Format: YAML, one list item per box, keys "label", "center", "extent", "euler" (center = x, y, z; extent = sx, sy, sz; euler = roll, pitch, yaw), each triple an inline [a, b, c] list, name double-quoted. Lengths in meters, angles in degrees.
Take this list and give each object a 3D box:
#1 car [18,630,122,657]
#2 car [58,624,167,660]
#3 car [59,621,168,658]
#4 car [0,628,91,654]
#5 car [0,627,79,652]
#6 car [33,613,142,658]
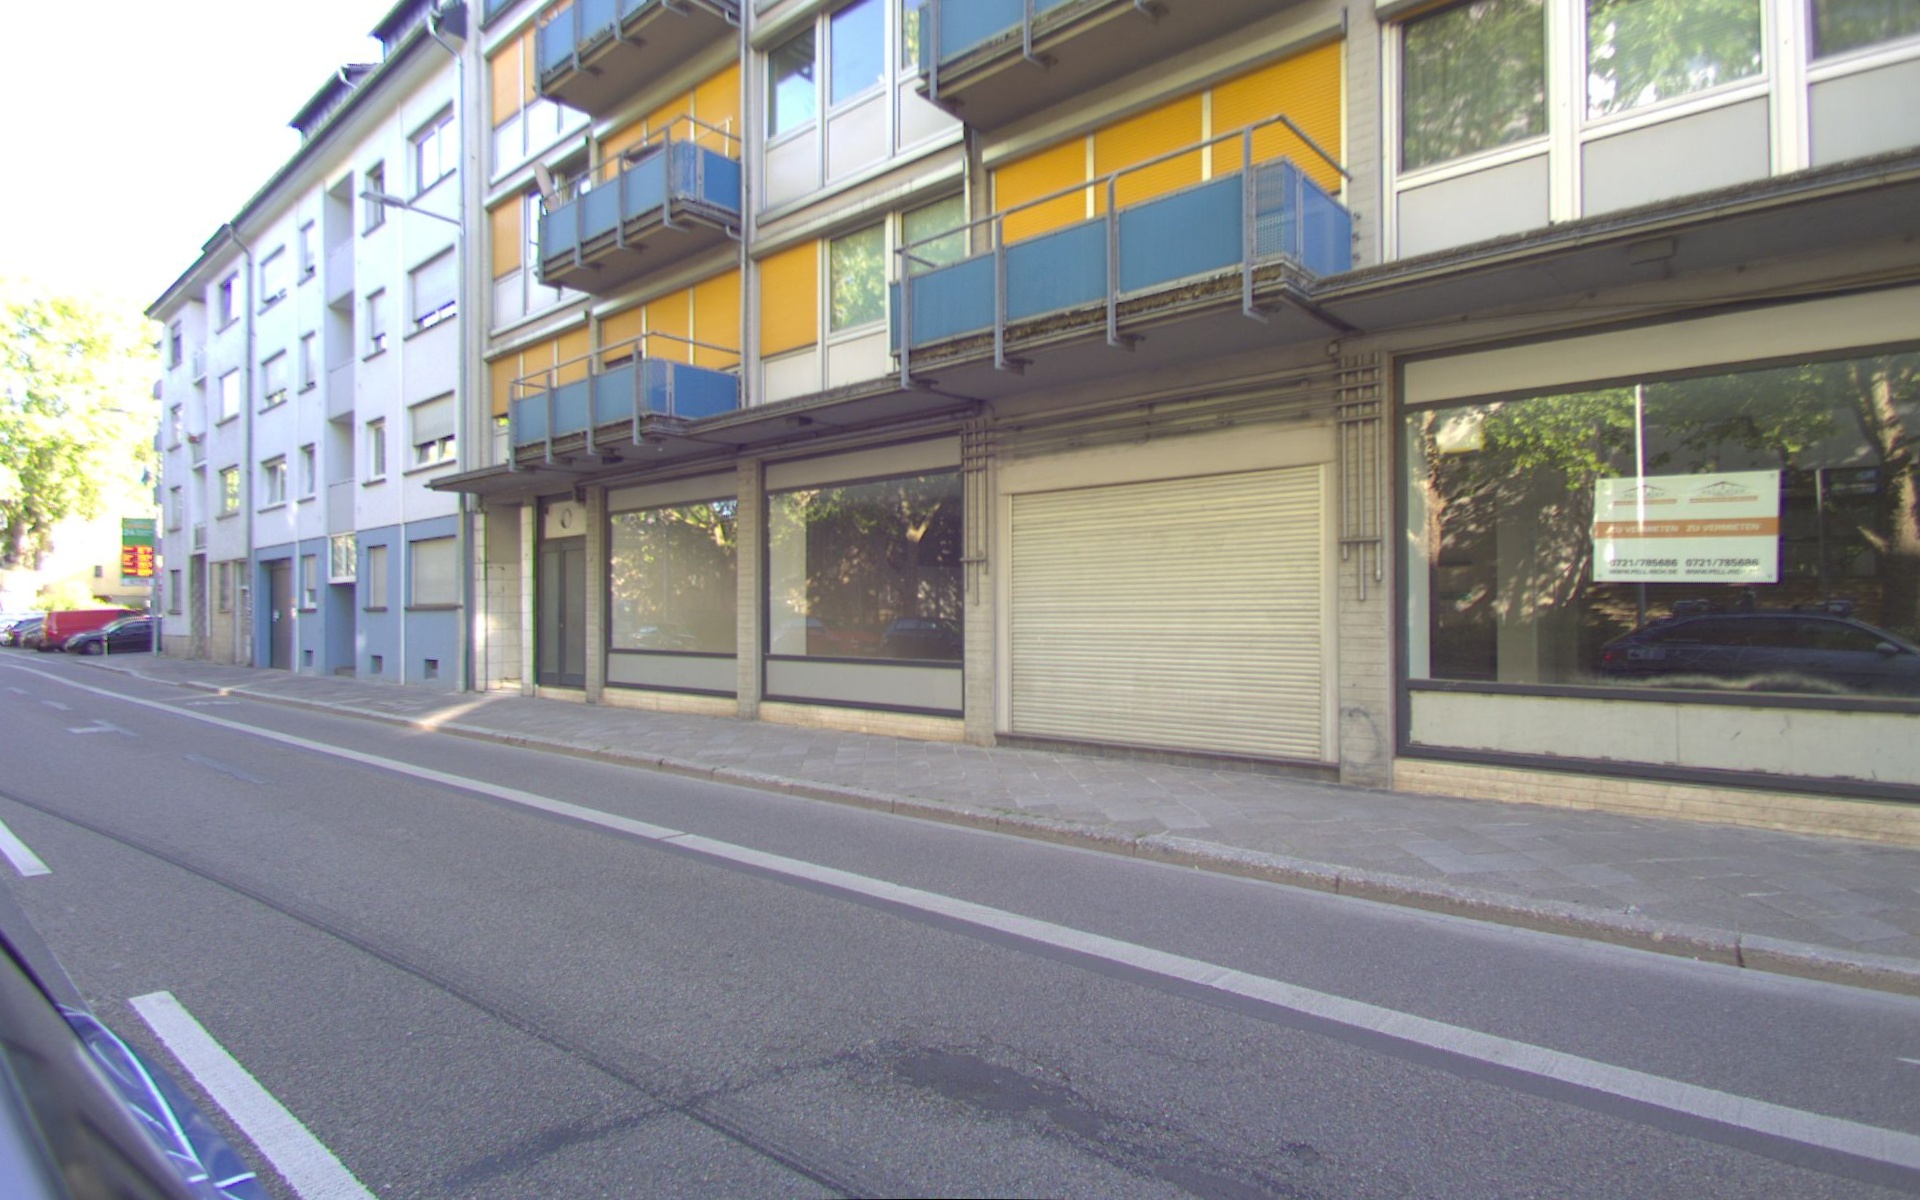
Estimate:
- label: "car"
  center: [-42.815, 2.062, 48.741]
  extent: [1.345, 1.137, 3.638]
  euler: [-1, 0, 43]
- label: "car"
  center: [-36.677, 1.800, 43.846]
  extent: [1.490, 1.398, 3.462]
  euler: [-1, 0, 43]
- label: "car"
  center: [-38.193, 1.757, 45.727]
  extent: [1.490, 1.523, 3.638]
  euler: [-1, 0, 43]
- label: "car"
  center: [-50.446, 2.229, 55.878]
  extent: [1.345, 1.254, 3.638]
  euler: [-1, 0, 43]
- label: "car"
  center: [-52.260, 2.236, 57.508]
  extent: [1.345, 1.254, 3.228]
  euler: [-1, 0, 43]
- label: "car"
  center: [-40.652, 1.636, 47.226]
  extent: [1.488, 1.923, 3.642]
  euler: [-4, -2, 39]
